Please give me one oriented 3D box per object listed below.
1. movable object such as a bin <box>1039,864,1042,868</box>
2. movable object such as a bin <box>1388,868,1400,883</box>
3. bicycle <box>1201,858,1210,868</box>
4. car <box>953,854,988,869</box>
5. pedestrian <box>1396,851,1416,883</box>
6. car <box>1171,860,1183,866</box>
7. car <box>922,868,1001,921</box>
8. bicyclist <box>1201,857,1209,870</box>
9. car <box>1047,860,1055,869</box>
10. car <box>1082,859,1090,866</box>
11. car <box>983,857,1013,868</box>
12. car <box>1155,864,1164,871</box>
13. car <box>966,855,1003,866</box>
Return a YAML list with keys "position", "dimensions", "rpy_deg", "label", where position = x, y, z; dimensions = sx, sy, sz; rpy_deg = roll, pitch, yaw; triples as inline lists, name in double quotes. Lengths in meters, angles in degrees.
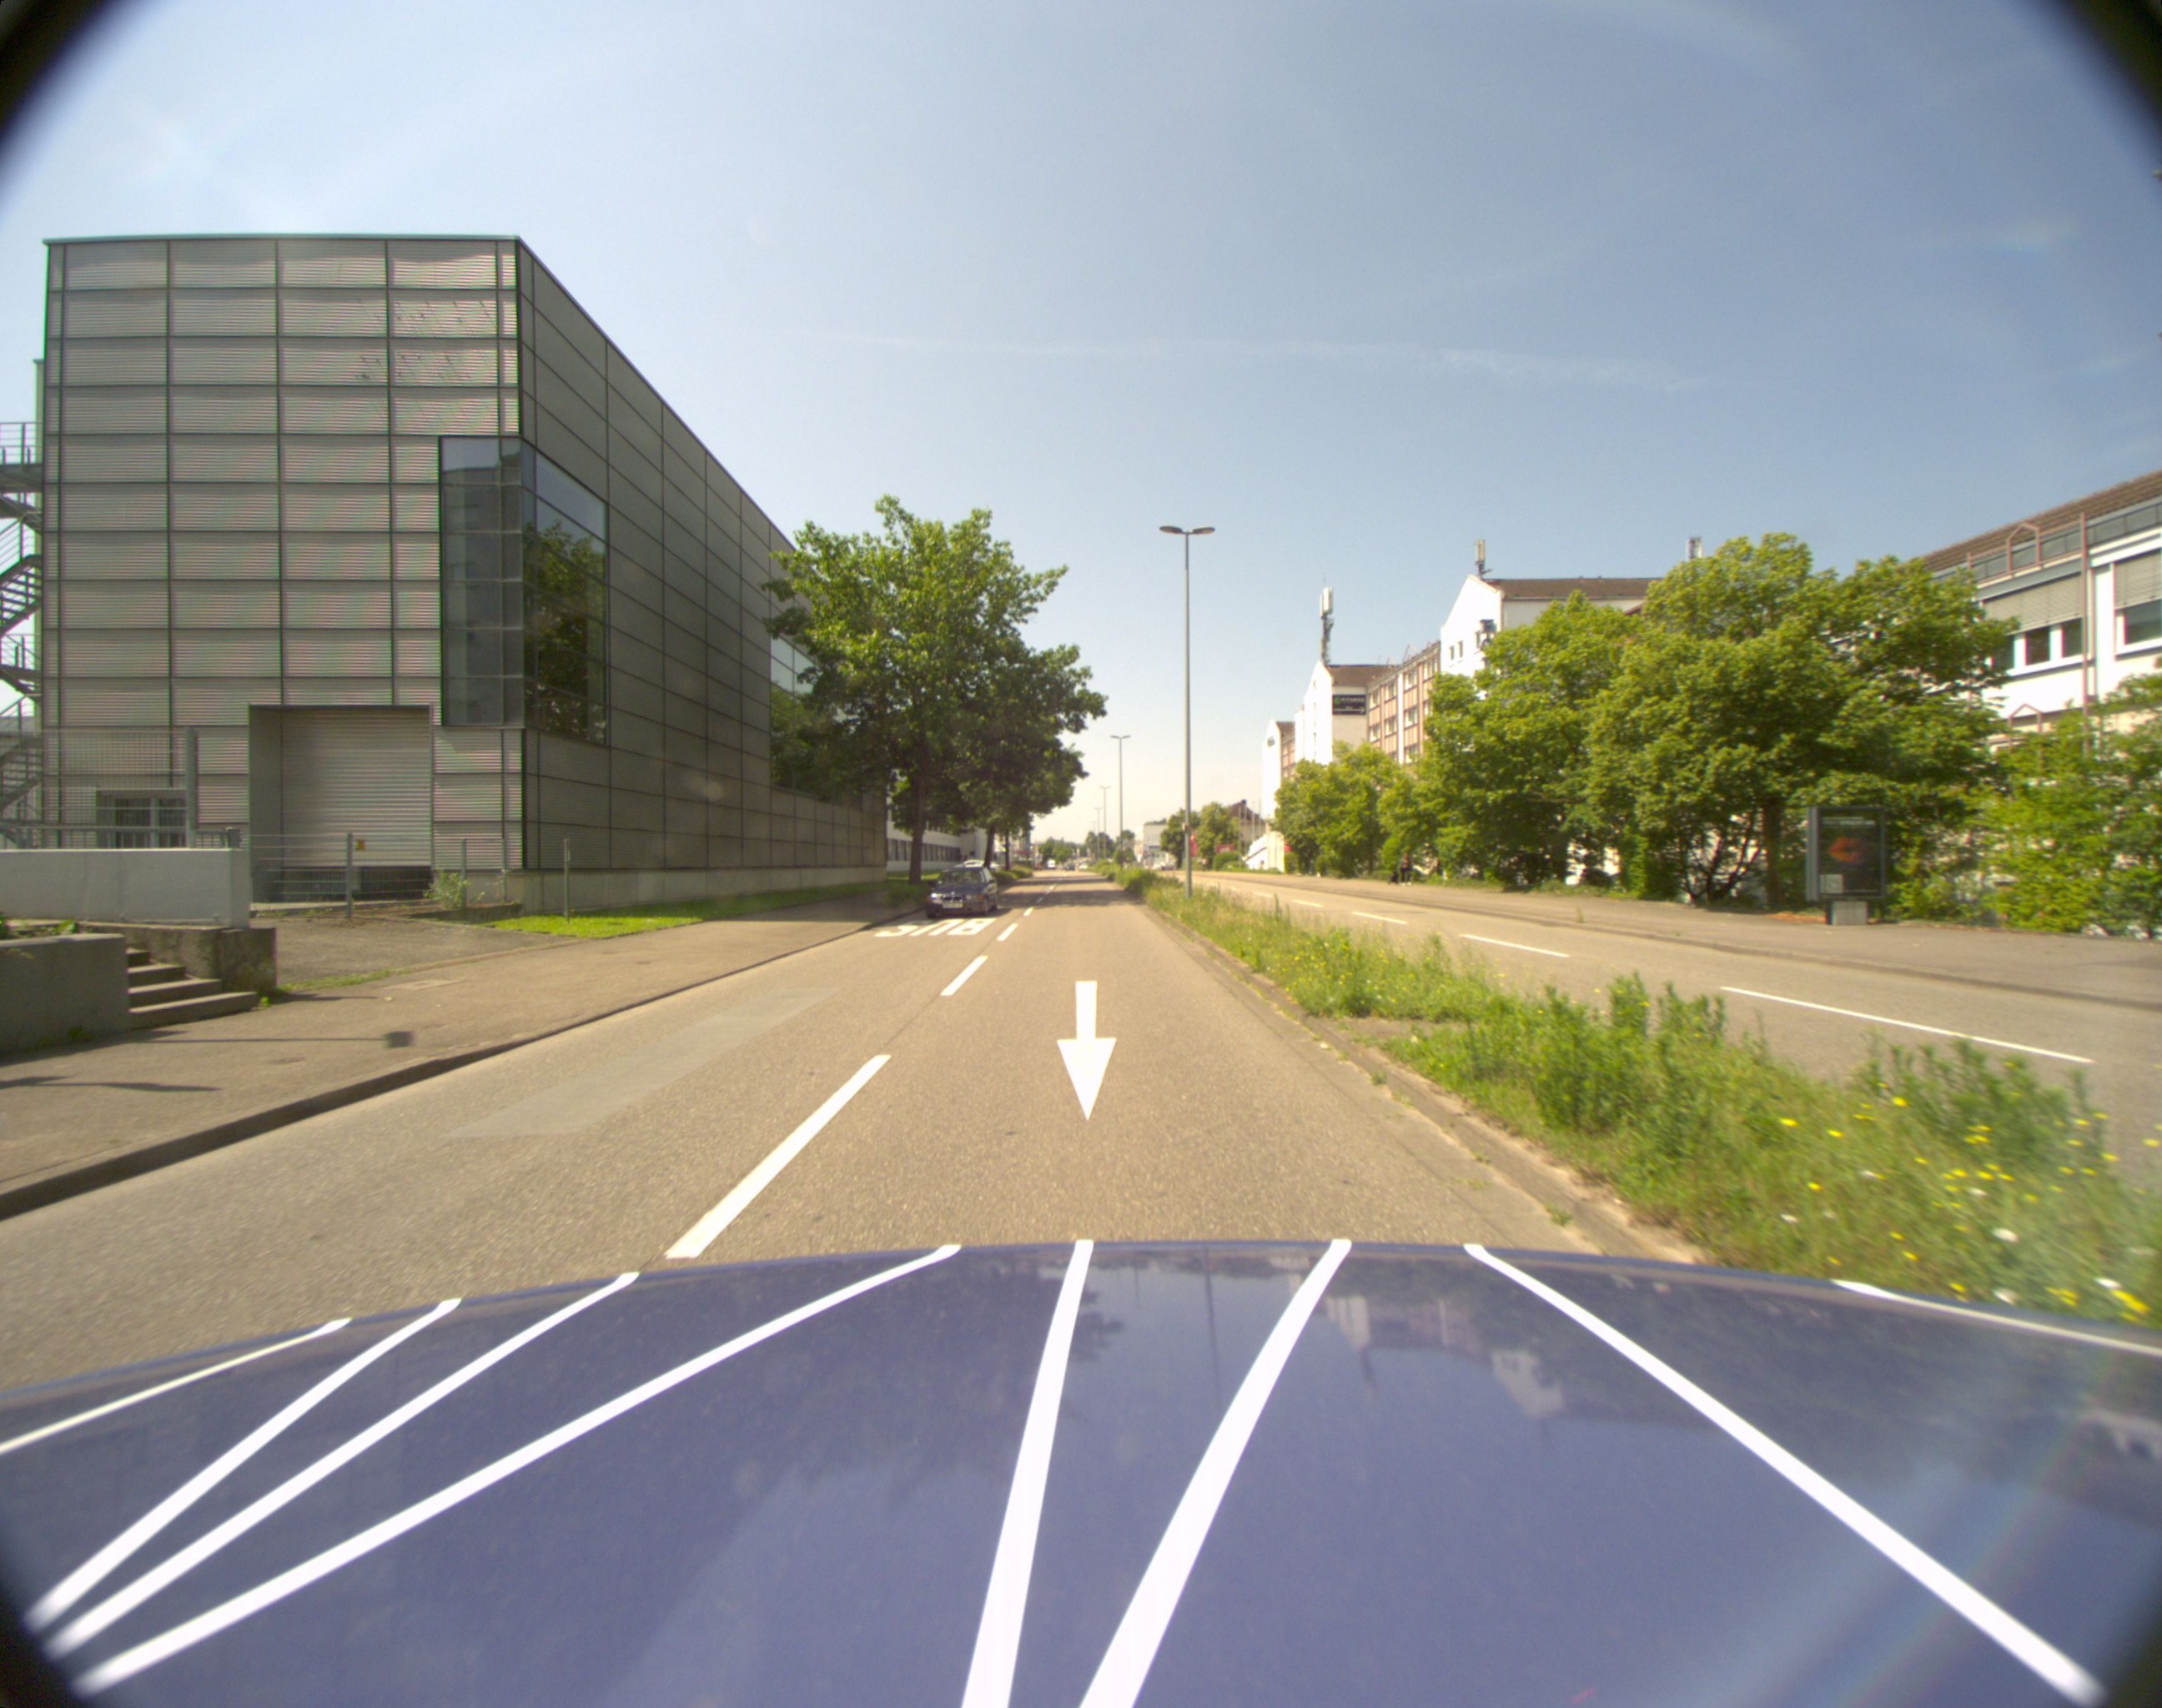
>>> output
- position: [-8.850, 2.621, 165.261]
  dimensions: [0.552, 0.914, 0.653]
  rpy_deg: [3, 0, 1]
  label: "movable object such as a bin"
- position: [15.346, 1.053, 37.251]
  dimensions: [0.429, 0.701, 0.652]
  rpy_deg: [0, 0, 9]
  label: "movable object such as a bin"
- position: [14.353, 1.031, 87.777]
  dimensions: [0.552, 1.067, 2.062]
  rpy_deg: [-1, 0, -3]
  label: "bicycle"
- position: [-12.665, 0.890, 87.238]
  dimensions: [3.823, 1.582, 1.732]
  rpy_deg: [2, 0, -4]
  label: "car"
- position: [15.773, 0.629, 36.912]
  dimensions: [0.634, 1.536, 0.727]
  rpy_deg: [0, 0, 0]
  label: "pedestrian"
- position: [20.061, 1.888, 159.168]
  dimensions: [1.737, 1.343, 4.000]
  rpy_deg: [0, -1, -2]
  label: "car"
- position: [-3.335, 1.099, 21.889]
  dimensions: [1.632, 1.331, 3.757]
  rpy_deg: [-2, -1, 0]
  label: "car"
- position: [14.343, 1.113, 87.838]
  dimensions: [0.719, 1.507, 1.026]
  rpy_deg: [0, 0, -4]
  label: "bicyclist"
- position: [-9.228, 3.337, 237.737]
  dimensions: [2.183, 2.757, 7.278]
  rpy_deg: [2, -1, 0]
  label: "car"
- position: [1.065, 1.821, 163.791]
  dimensions: [1.693, 1.425, 3.712]
  rpy_deg: [0, -1, 1]
  label: "car"
- position: [-12.165, 1.233, 111.734]
  dimensions: [4.271, 1.679, 1.999]
  rpy_deg: [0, 0, -4]
  label: "car"
- position: [16.543, 2.775, 160.054]
  dimensions: [1.780, 1.402, 4.761]
  rpy_deg: [0, -1, 5]
  label: "car"
- position: [-12.119, 0.823, 95.644]
  dimensions: [4.627, 1.382, 1.999]
  rpy_deg: [0, 0, -5]
  label: "car"
